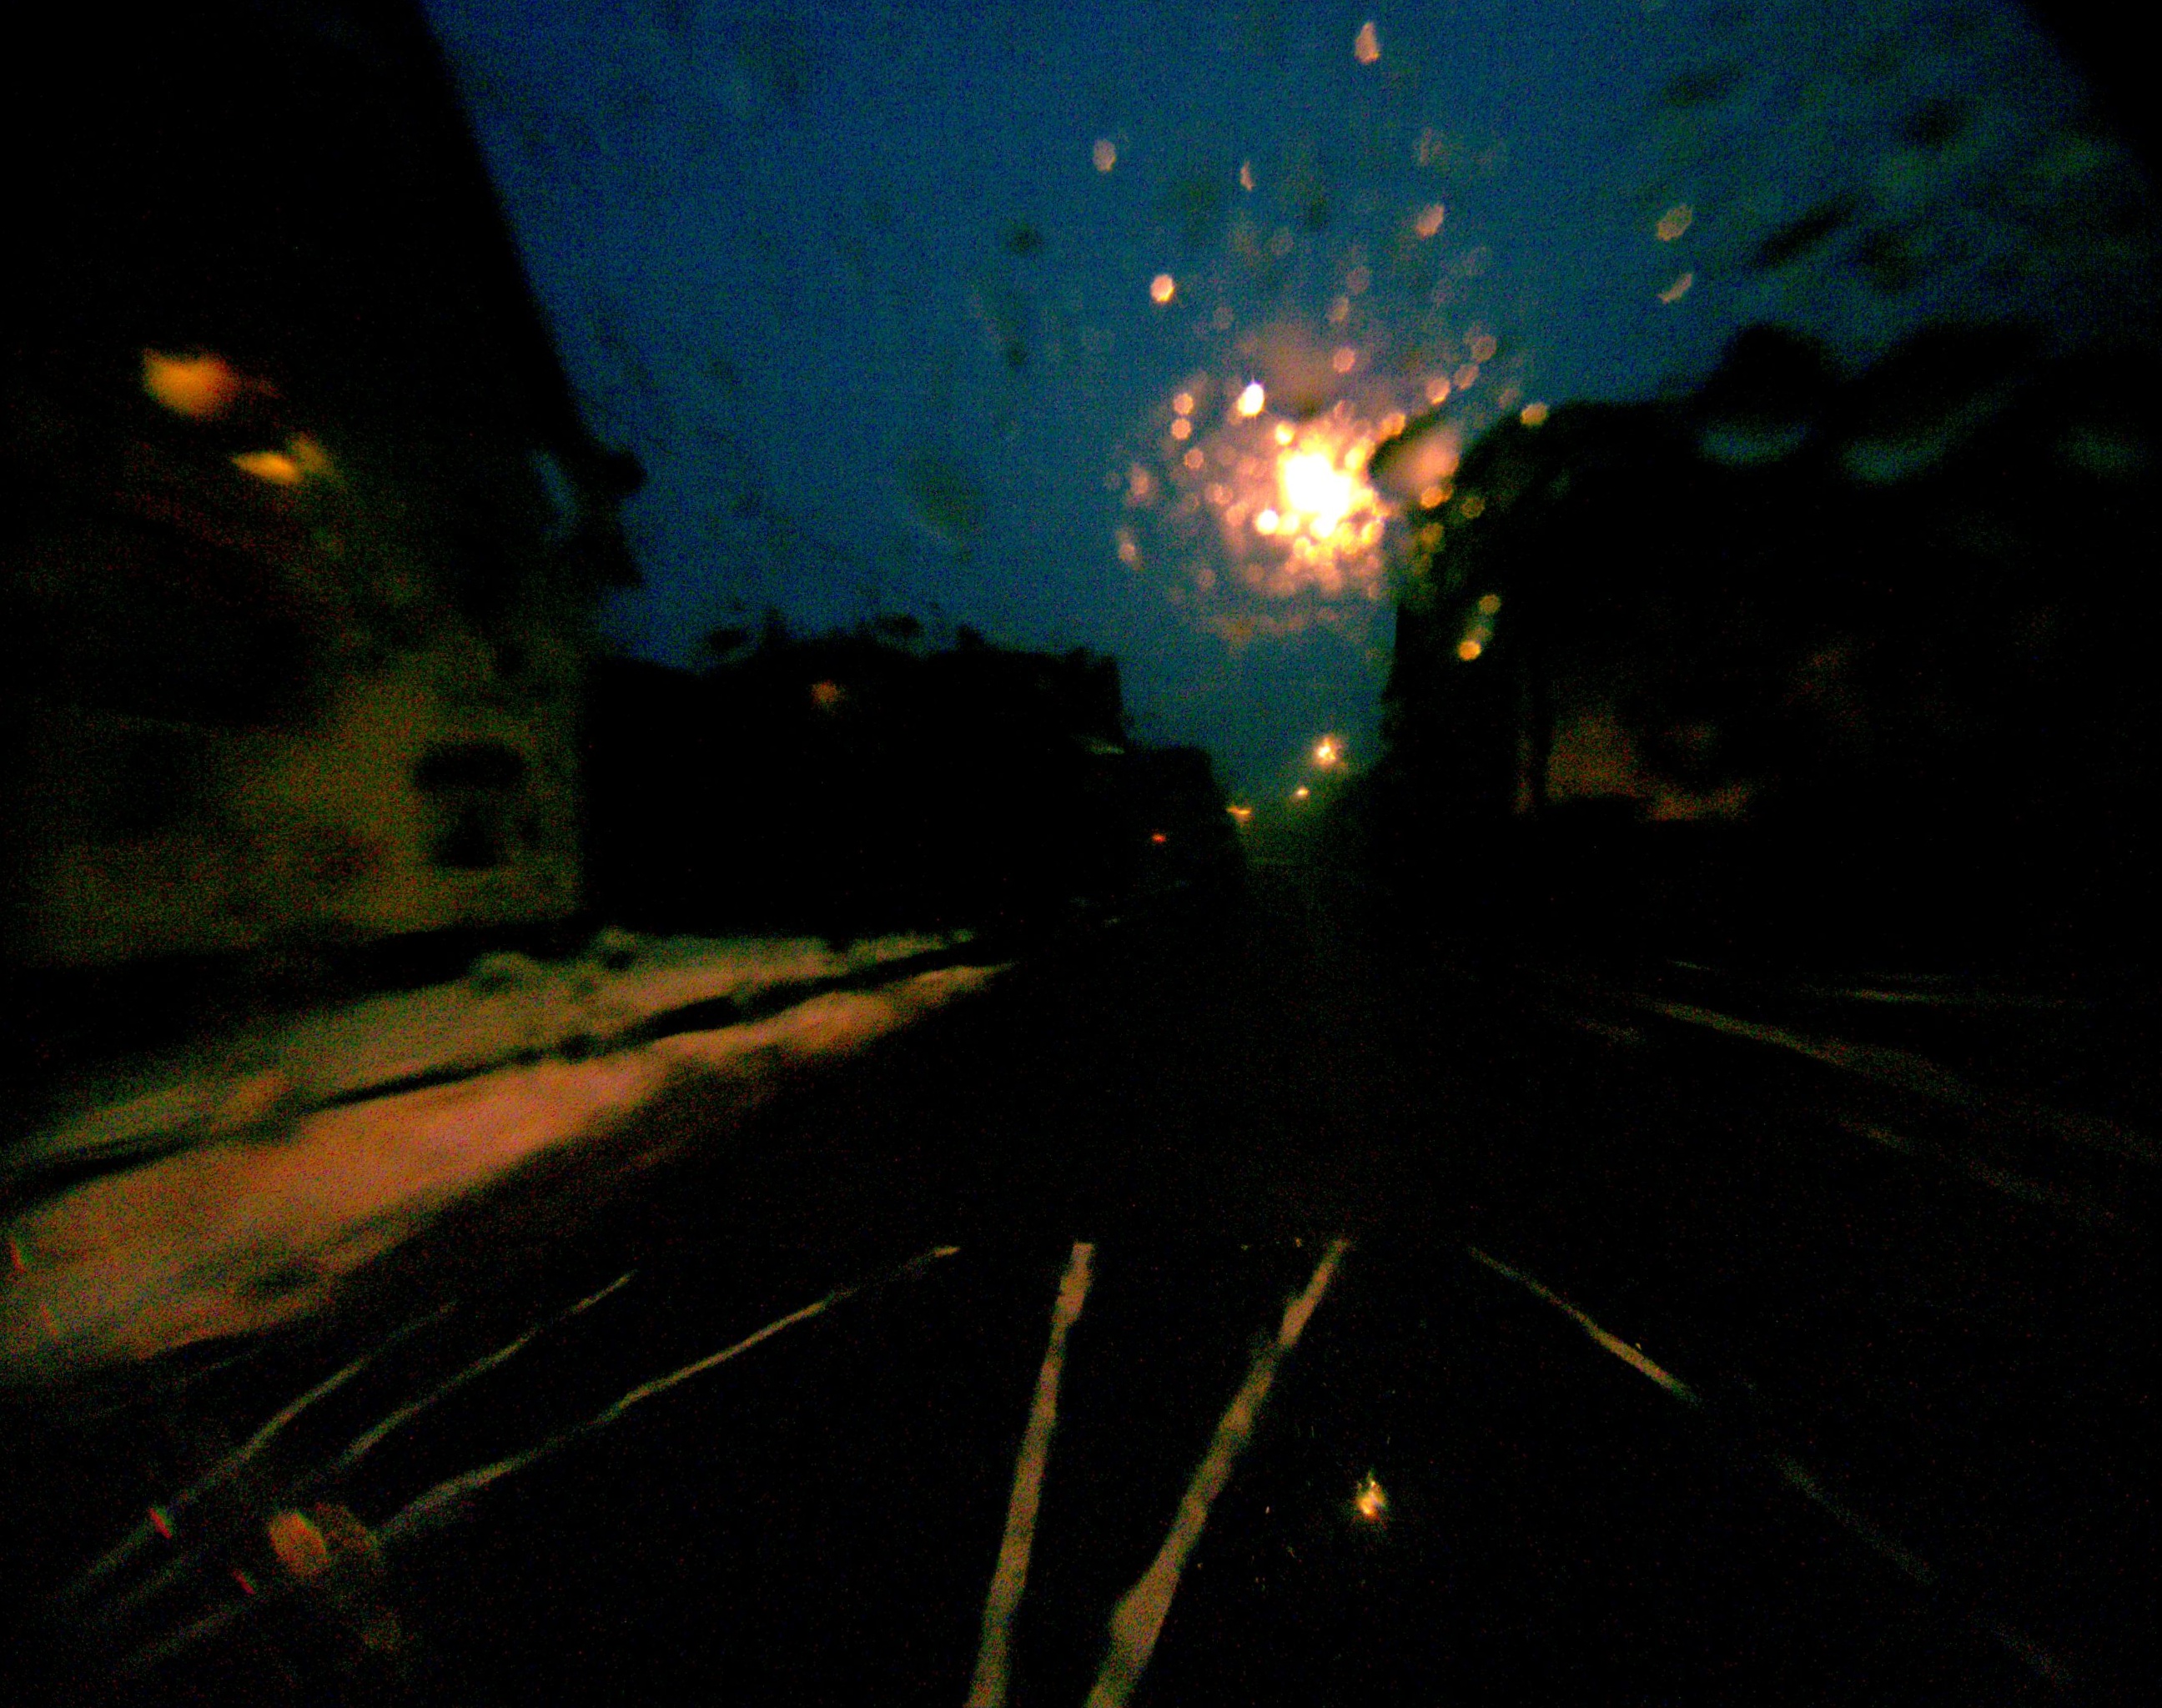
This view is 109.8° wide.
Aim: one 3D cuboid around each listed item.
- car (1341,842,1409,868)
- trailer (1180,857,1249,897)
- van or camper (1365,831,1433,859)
[{"bbox_3d":[23.485,0.081,60.879,4.799,1.657,1.892,-5,1,16],"label":"car"},{"bbox_3d":[5.436,0.868,30.470,1.996,1.380,4.737,-1,0,19],"label":"trailer"},{"bbox_3d":[28.840,-0.793,68.969,5.306,2.434,2.143,0,1,-9],"label":"van or camper"}]
